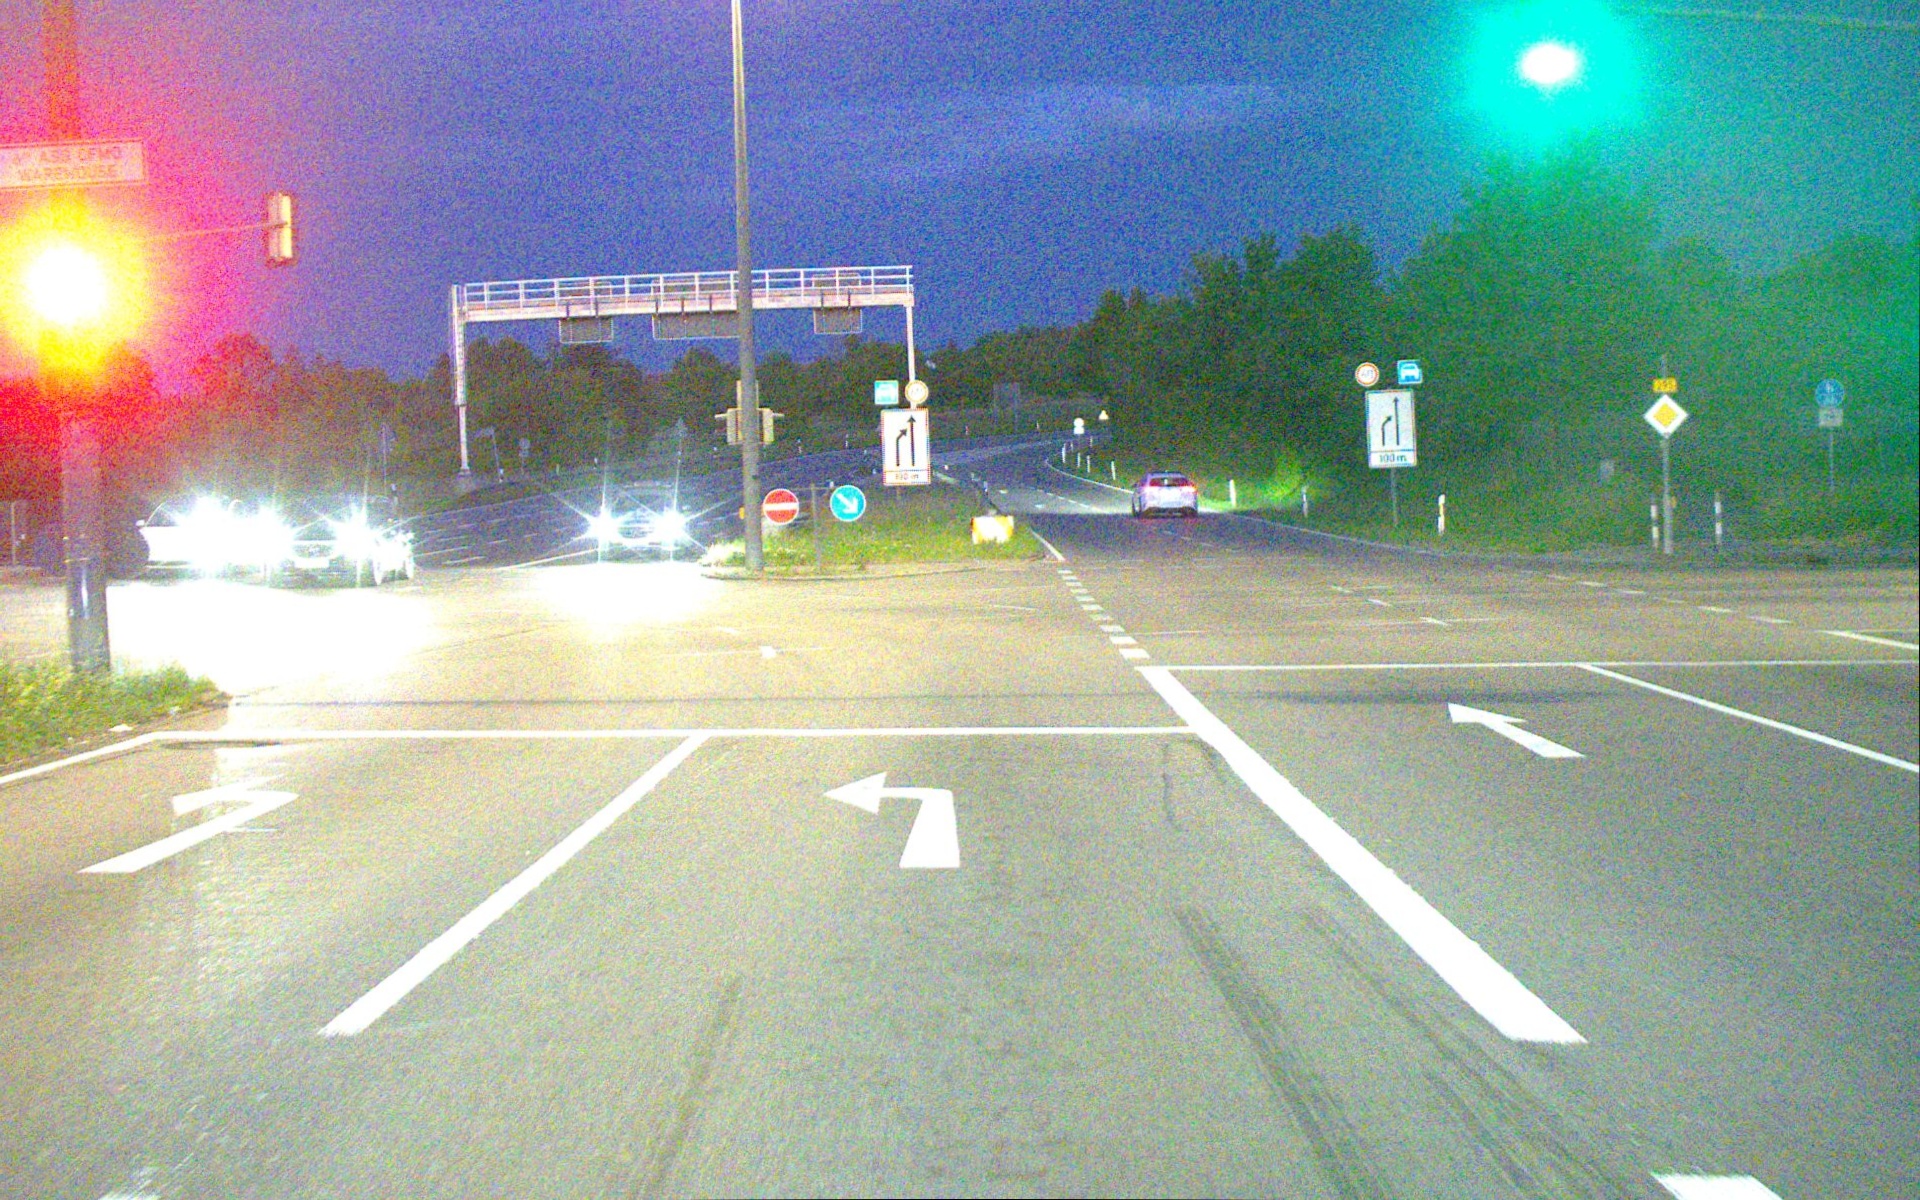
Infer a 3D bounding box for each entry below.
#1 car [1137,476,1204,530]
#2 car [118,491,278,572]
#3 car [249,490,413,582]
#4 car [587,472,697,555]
[{"bbox_3d":[6.568,-3.035,107.804,2.008,1.605,3.845,-1,2,3],"label":"car"},{"bbox_3d":[-14.109,-1.295,63.878,1.993,1.420,4.533,-1,2,-1],"label":"car"},{"bbox_3d":[-10.738,-1.128,58.984,1.993,1.476,4.683,-1,2,-1],"label":"car"},{"bbox_3d":[-6.761,-1.878,73.372,1.993,1.692,4.001,-1,2,-1],"label":"car"}]
